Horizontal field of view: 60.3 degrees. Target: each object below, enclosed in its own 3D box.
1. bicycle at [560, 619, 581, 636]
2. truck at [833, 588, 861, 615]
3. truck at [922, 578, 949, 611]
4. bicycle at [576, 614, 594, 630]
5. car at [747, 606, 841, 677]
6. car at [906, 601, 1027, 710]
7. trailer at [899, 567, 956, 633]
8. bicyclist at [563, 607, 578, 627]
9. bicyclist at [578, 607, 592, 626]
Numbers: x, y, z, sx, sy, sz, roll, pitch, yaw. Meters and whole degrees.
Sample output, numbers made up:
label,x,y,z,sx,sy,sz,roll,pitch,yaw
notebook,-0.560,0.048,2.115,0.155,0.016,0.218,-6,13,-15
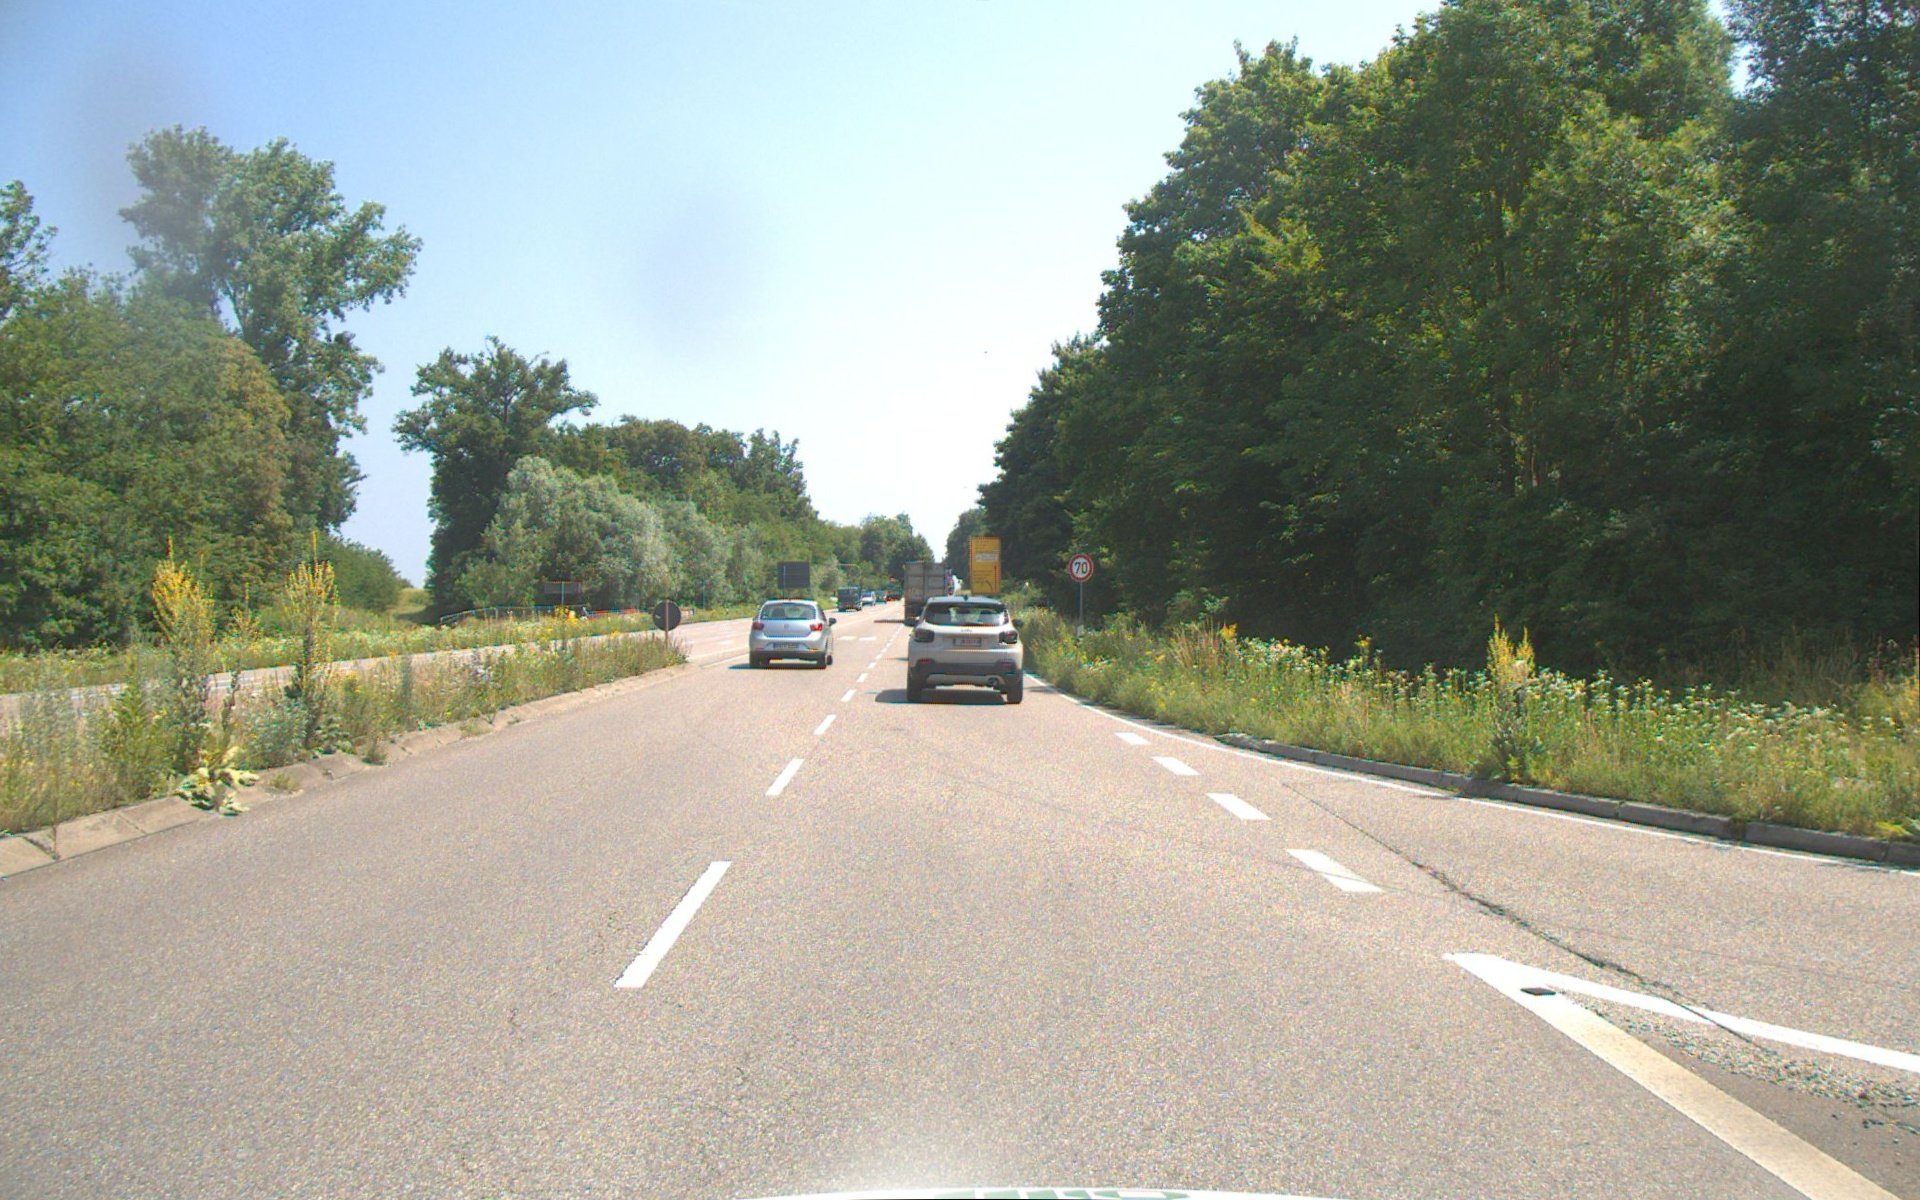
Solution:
label,x,y,z,sx,sy,sz,roll,pitch,yaw
bicycle,-25.241,1.770,107.160,0.661,1.022,1.802,-2,0,9
truck,-11.901,0.148,174.371,2.404,2.702,6.490,-3,0,0
truck,-3.345,-0.700,223.601,3.426,4.261,10.781,0,0,-1
bicycle,-25.179,1.467,111.040,0.591,1.023,1.557,-2,-1,10
car,-3.569,0.862,36.020,1.631,1.455,3.828,1,0,0
car,0.102,0.799,25.879,1.731,1.562,4.000,0,0,0
trailer,-2.016,0.059,107.193,3.313,4.058,10.804,0,0,1
bicyclist,-25.264,1.095,107.217,0.741,1.216,0.592,-2,0,10
bicyclist,-25.185,1.088,110.972,0.719,1.216,0.592,-2,-1,10
